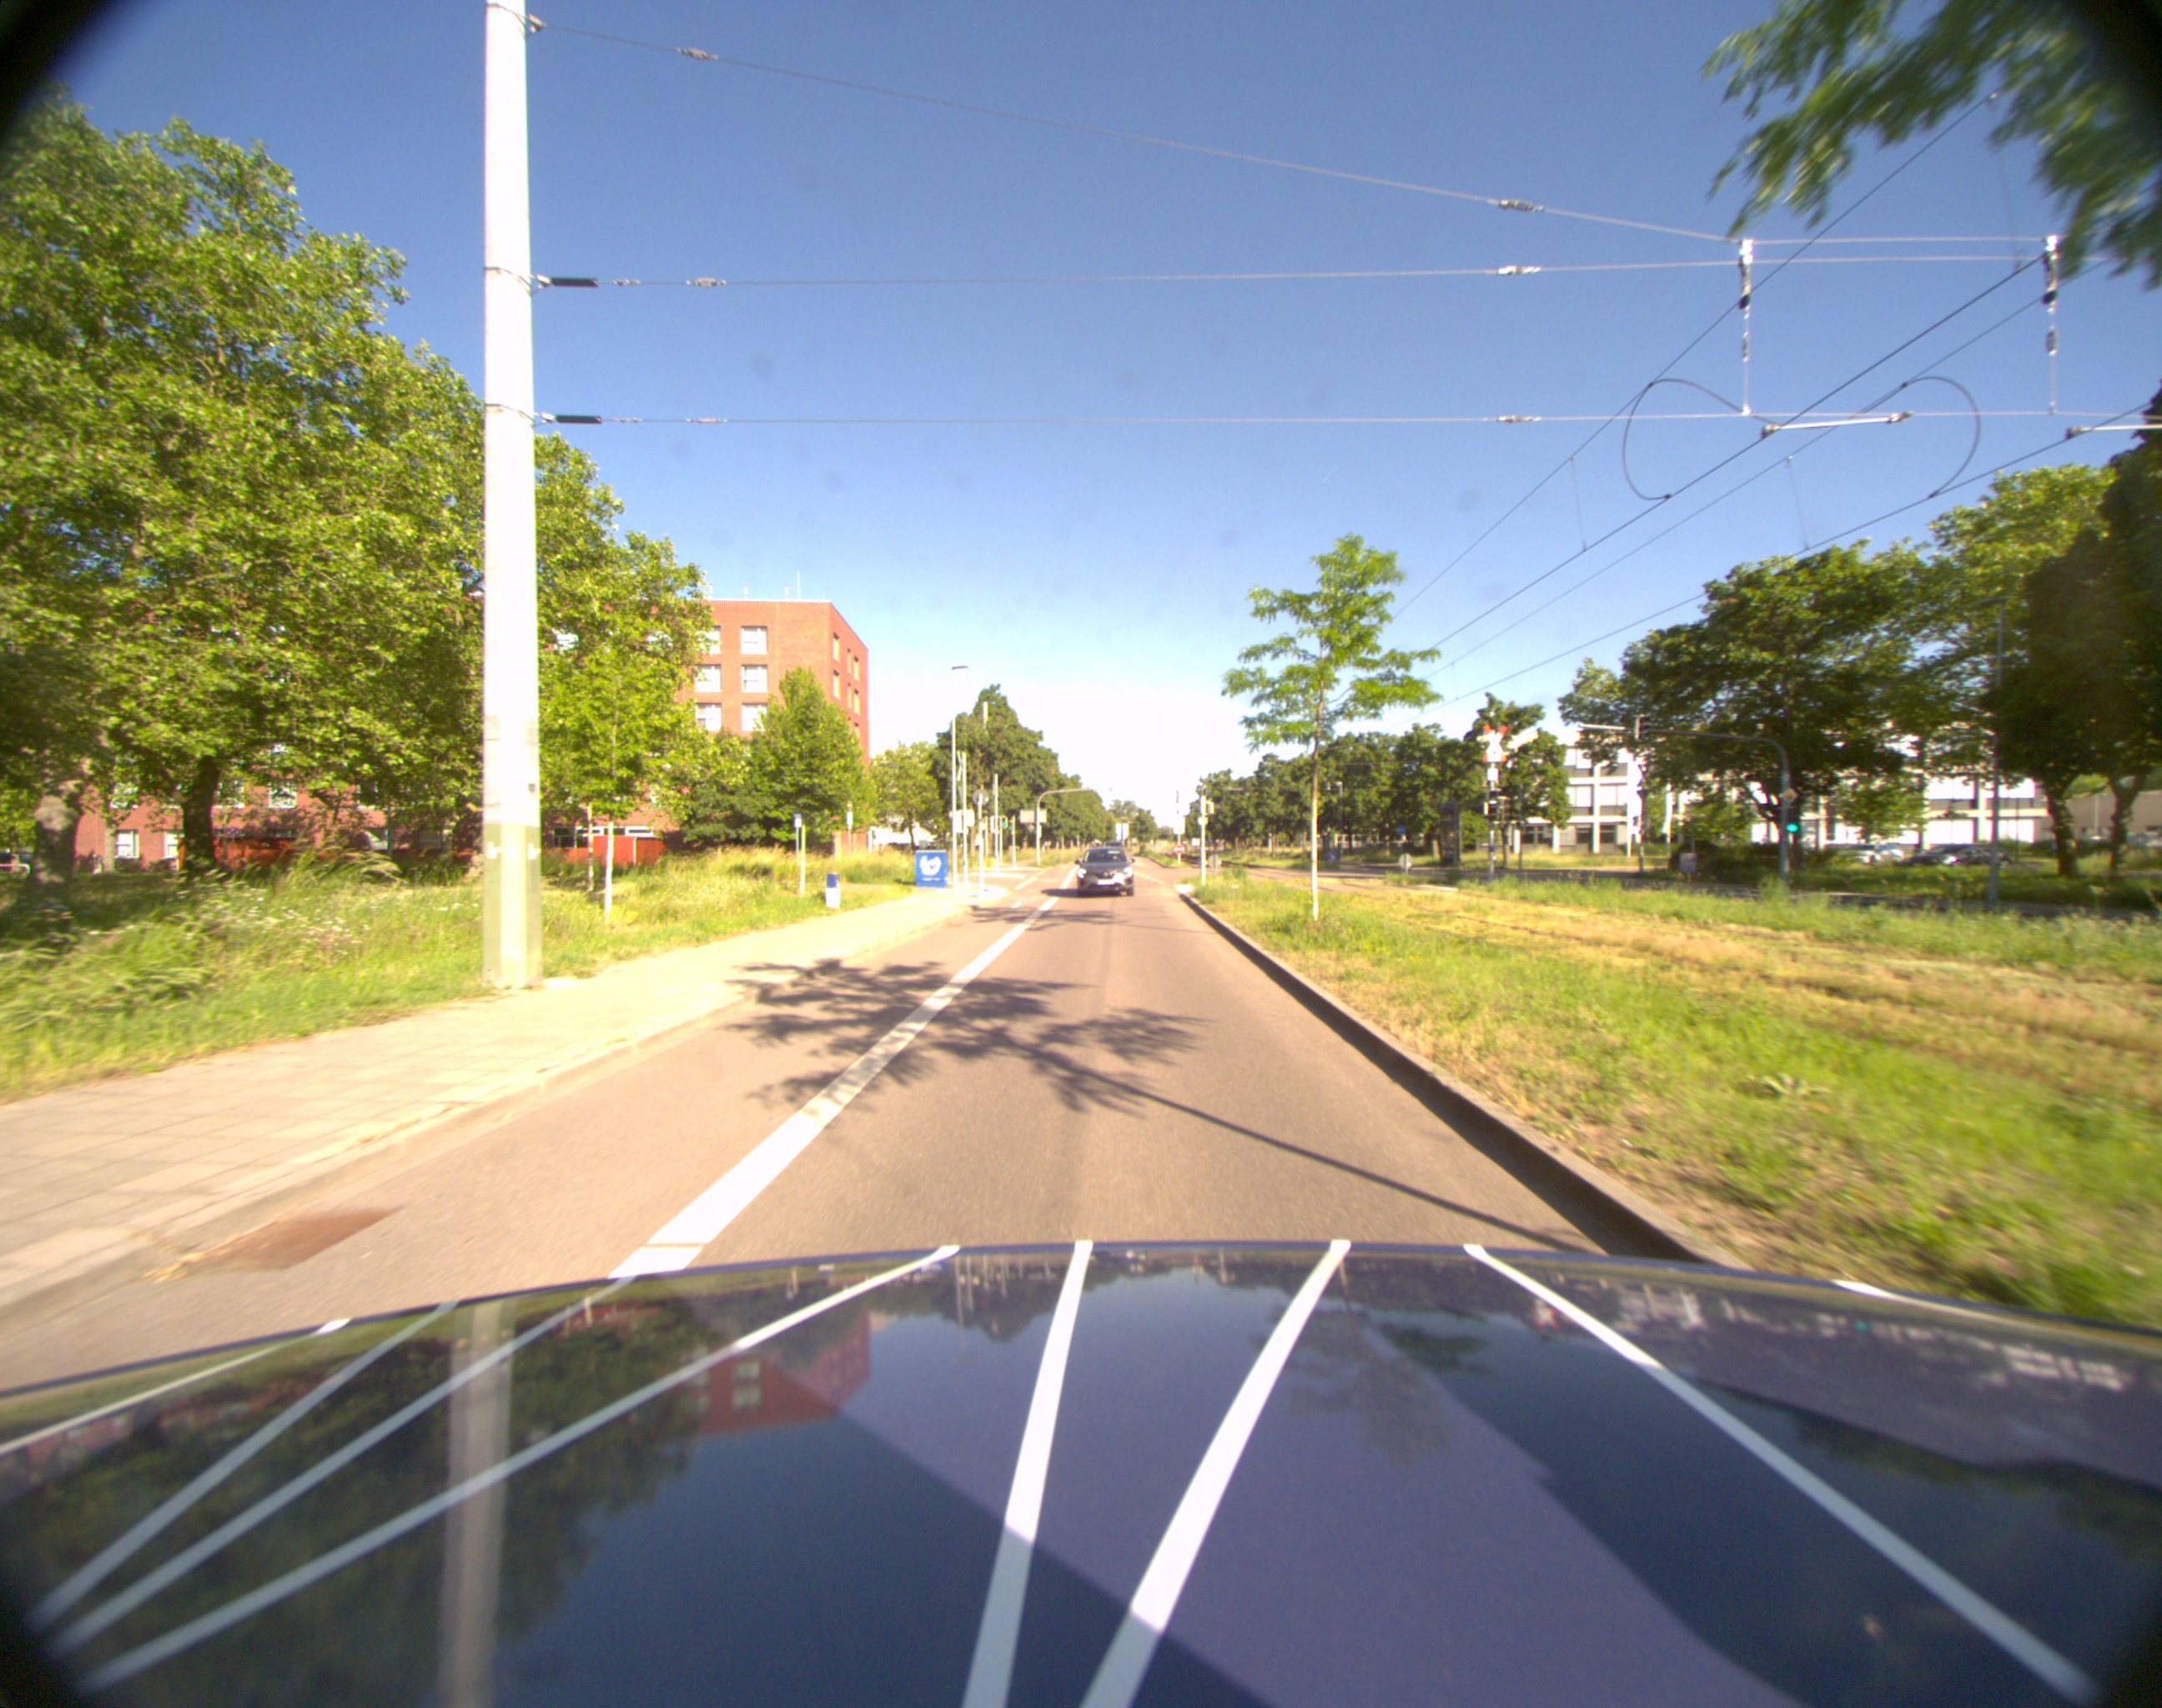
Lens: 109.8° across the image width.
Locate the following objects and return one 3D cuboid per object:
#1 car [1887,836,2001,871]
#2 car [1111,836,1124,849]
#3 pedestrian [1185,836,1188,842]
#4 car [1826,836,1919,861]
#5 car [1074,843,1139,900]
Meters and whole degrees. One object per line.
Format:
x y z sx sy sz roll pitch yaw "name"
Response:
42.626 -0.041 37.558 4.000 1.658 1.829 -1 1 -9 "car"
4.866 -1.565 101.754 1.554 1.765 3.458 1 1 6 "car"
30.629 -4.475 221.240 0.785 1.741 0.782 0 1 6 "pedestrian"
51.833 -0.362 49.790 4.431 1.630 1.988 0 1 -8 "car"
0.915 0.503 24.657 1.749 1.585 4.248 -2 1 6 "car"
